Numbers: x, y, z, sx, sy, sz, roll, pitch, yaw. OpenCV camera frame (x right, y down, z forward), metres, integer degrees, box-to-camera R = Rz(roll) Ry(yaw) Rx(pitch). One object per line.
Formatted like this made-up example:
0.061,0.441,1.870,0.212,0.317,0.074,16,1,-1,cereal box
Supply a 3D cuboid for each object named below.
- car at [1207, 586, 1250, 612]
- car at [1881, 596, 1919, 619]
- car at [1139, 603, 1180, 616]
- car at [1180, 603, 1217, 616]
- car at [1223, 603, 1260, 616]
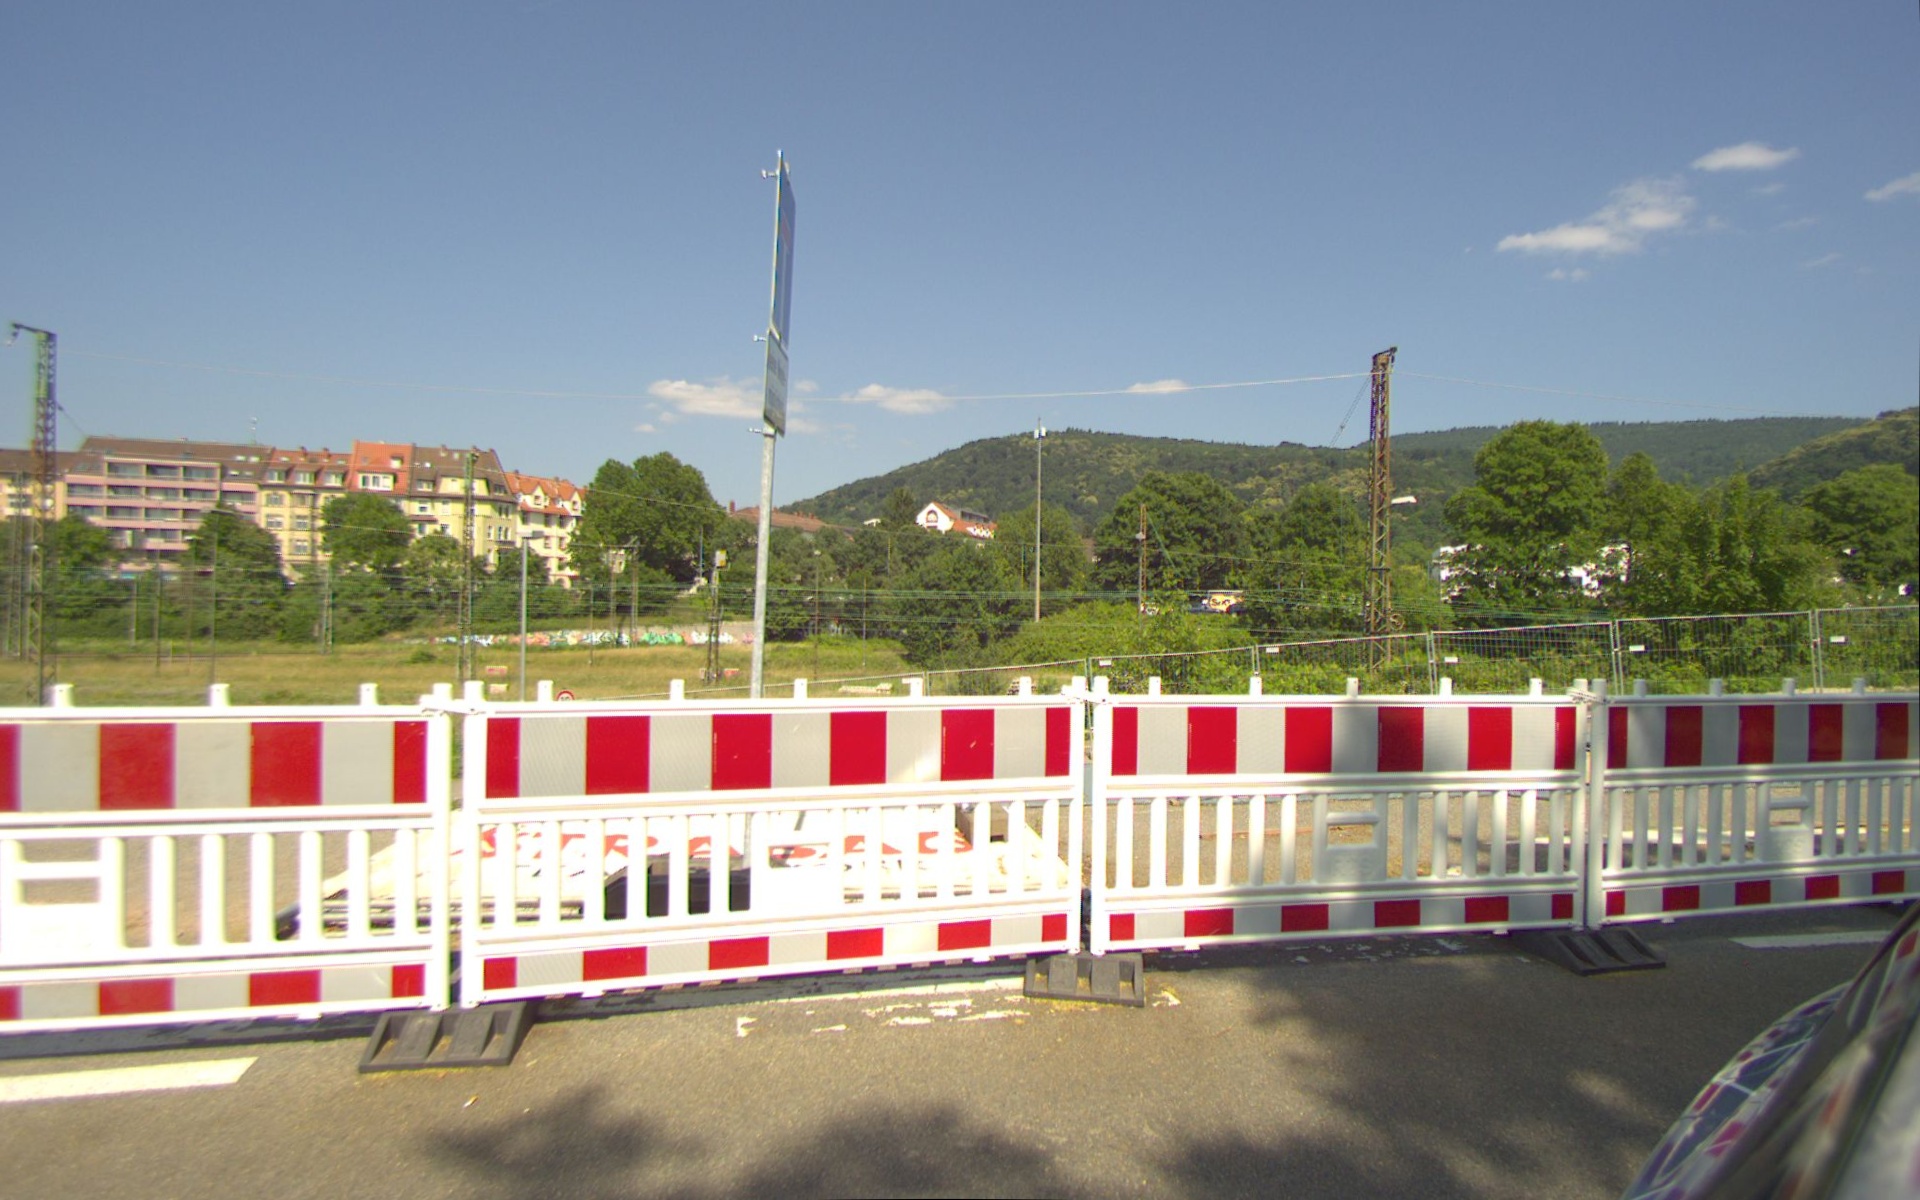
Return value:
29.824,-0.132,112.523,4.573,2.888,1.857,0,0,15,car
99.542,0.757,105.087,5.420,2.131,2.131,-1,-5,5,car
22.220,1.052,112.815,4.267,1.384,1.851,0,0,23,car
26.208,1.059,111.102,3.798,1.384,1.770,0,0,22,car
30.380,1.040,109.184,3.794,1.384,1.772,0,0,20,car
